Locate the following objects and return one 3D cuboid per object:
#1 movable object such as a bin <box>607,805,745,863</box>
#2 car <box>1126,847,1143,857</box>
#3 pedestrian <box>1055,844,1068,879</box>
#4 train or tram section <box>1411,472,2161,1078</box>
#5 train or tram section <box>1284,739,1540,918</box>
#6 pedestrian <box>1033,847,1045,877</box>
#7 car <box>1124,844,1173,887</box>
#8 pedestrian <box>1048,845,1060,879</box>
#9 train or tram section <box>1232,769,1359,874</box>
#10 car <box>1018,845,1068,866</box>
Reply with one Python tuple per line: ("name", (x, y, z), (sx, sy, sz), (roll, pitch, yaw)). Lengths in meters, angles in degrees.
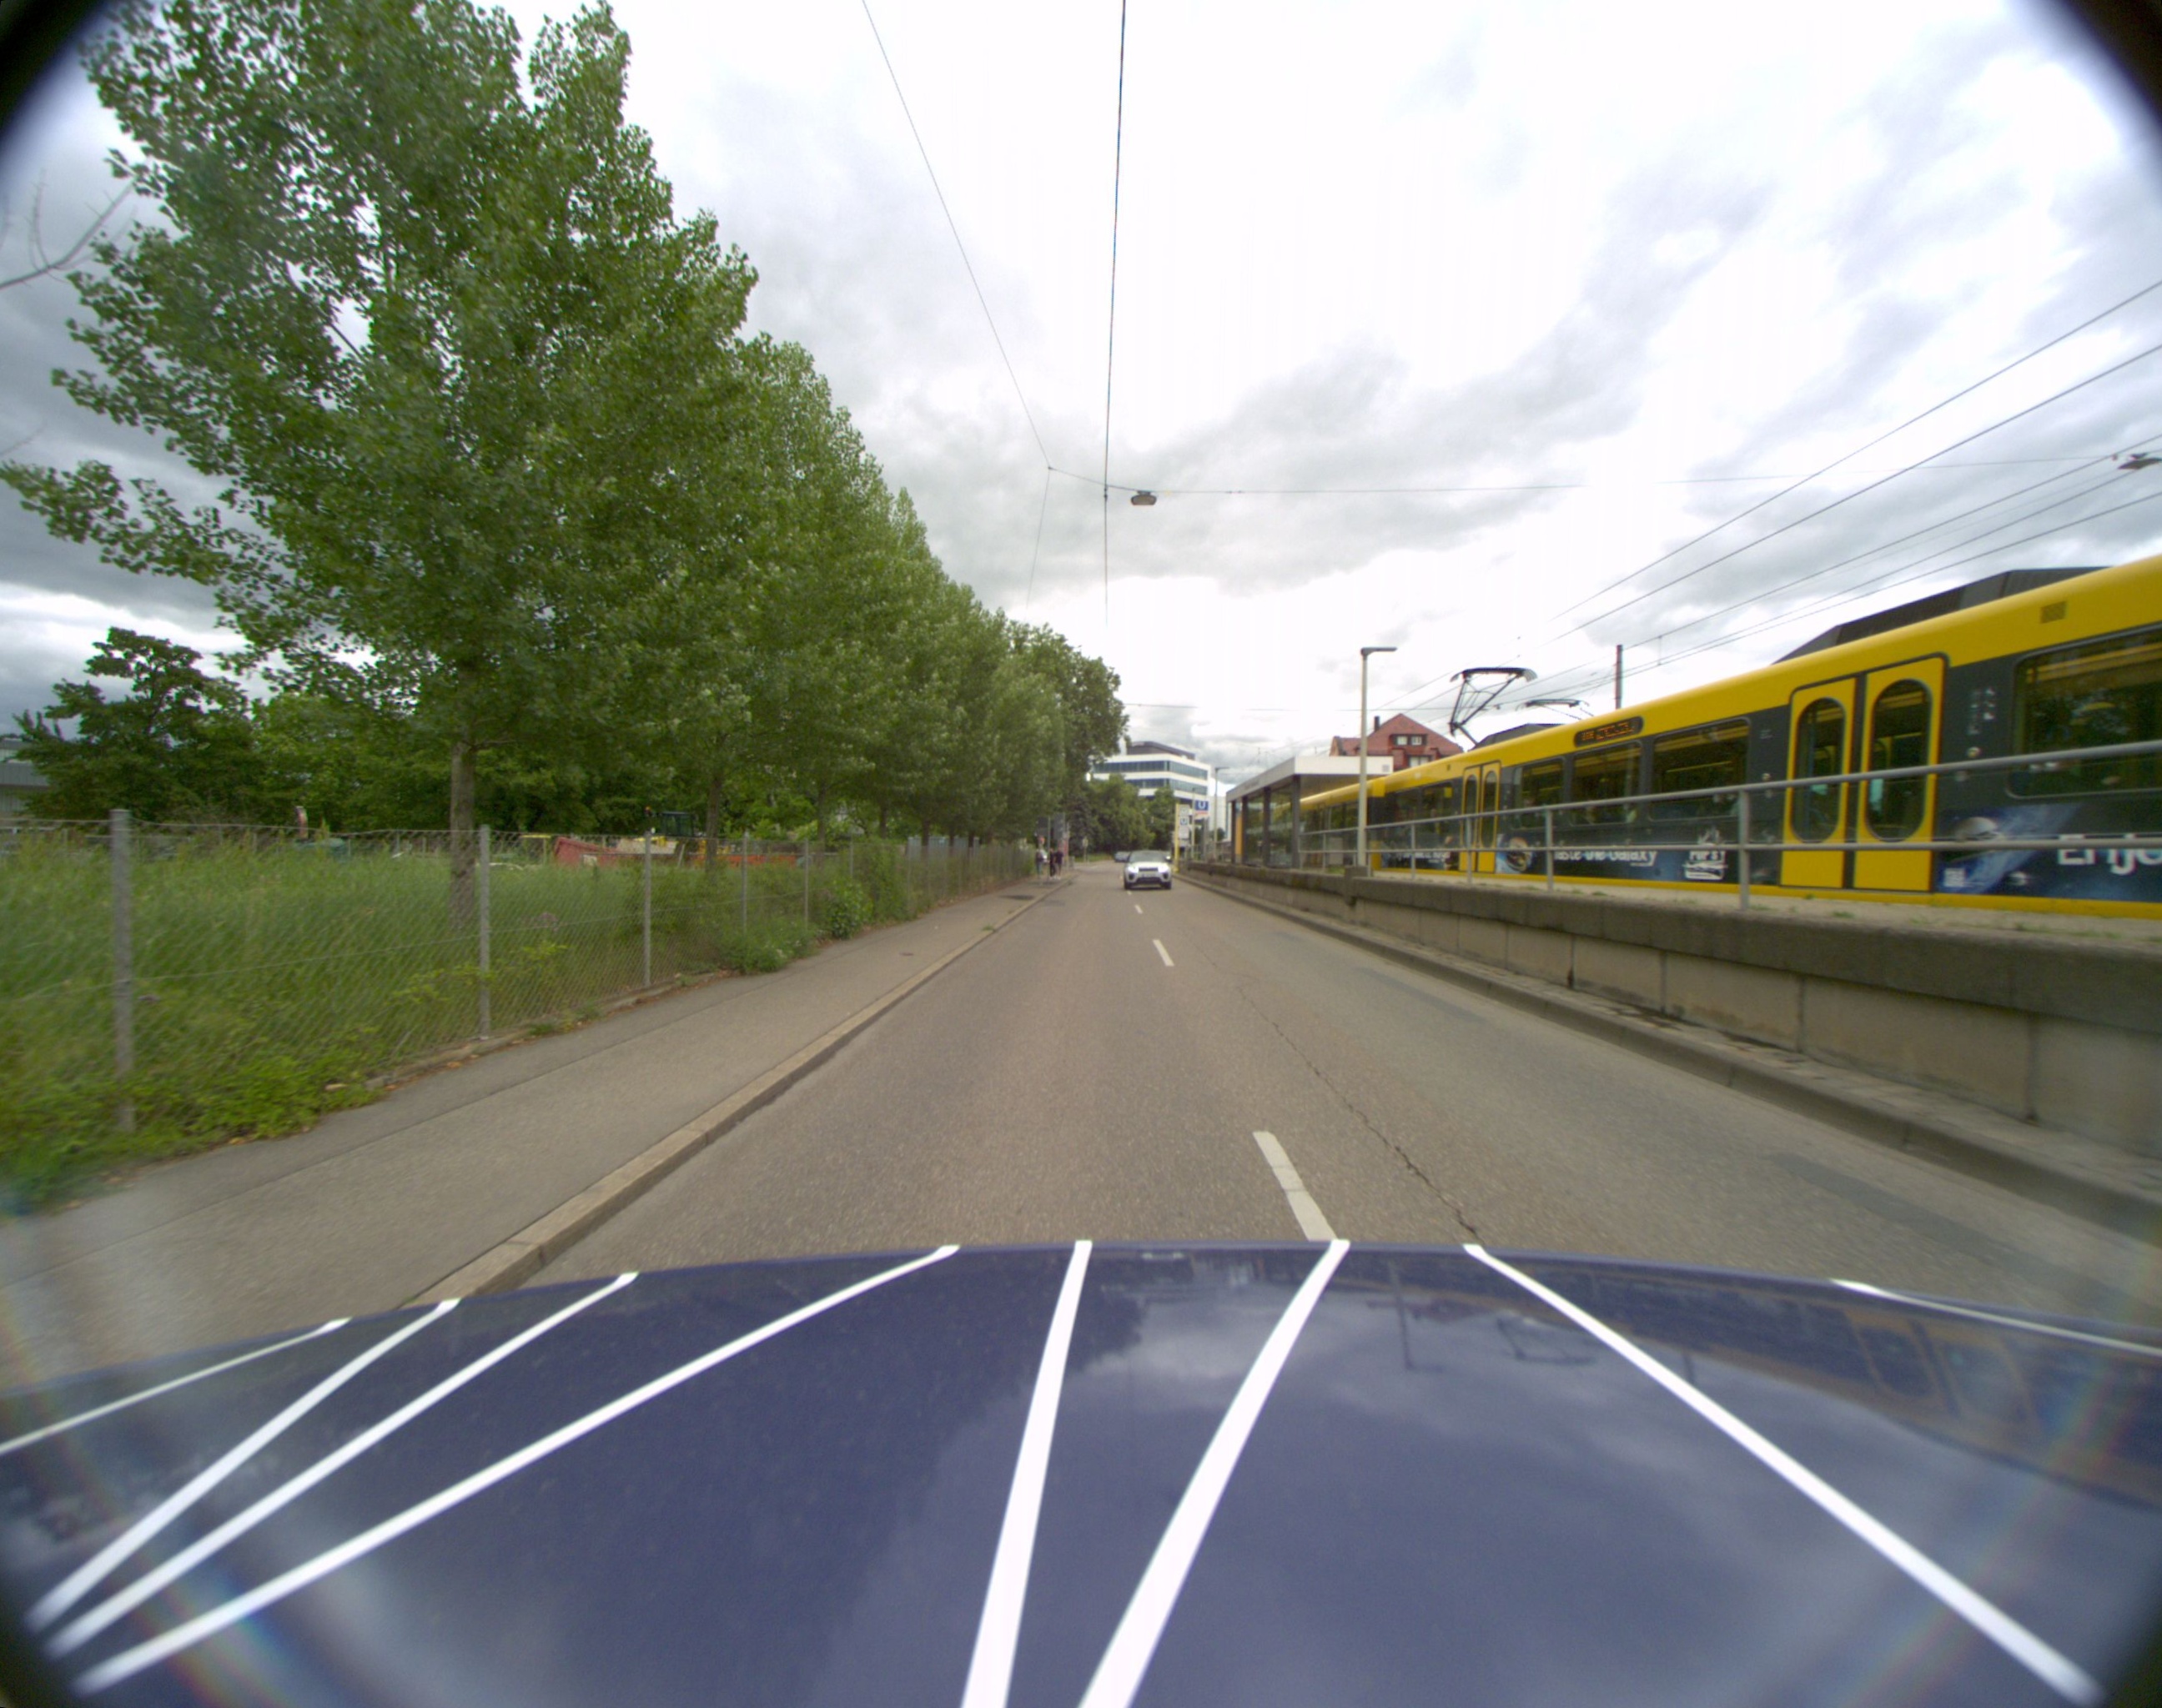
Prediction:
("movable object such as a bin", (-15.488, -0.852, 29.323), (1.994, 2.003, 4.300), (3, 5, 26))
("car", (7.826, -0.346, 110.678), (1.746, 1.418, 4.170), (0, 1, 15))
("pedestrian", (-1.074, 0.414, 41.948), (0.604, 1.858, 0.671), (1, 5, 3))
("train or tram section", (8.552, -0.475, 10.875), (2.747, 3.943, 11.913), (1, 0, 2))
("train or tram section", (8.933, -0.554, 22.809), (2.747, 3.943, 11.913), (1, 0, 2))
("pedestrian", (-2.361, 0.445, 42.695), (0.604, 1.681, 0.671), (1, 5, 3))
("car", (2.805, 0.430, 32.214), (1.915, 1.561, 4.112), (0, 3, 3))
("pedestrian", (-1.527, 0.445, 42.744), (0.604, 1.857, 0.671), (1, 2, 3))
("train or tram section", (9.303, -1.212, 34.773), (2.747, 3.943, 11.913), (1, 0, 2))
("car", (-3.726, 0.151, 74.714), (4.531, 2.007, 2.043), (0, 1, 14))
